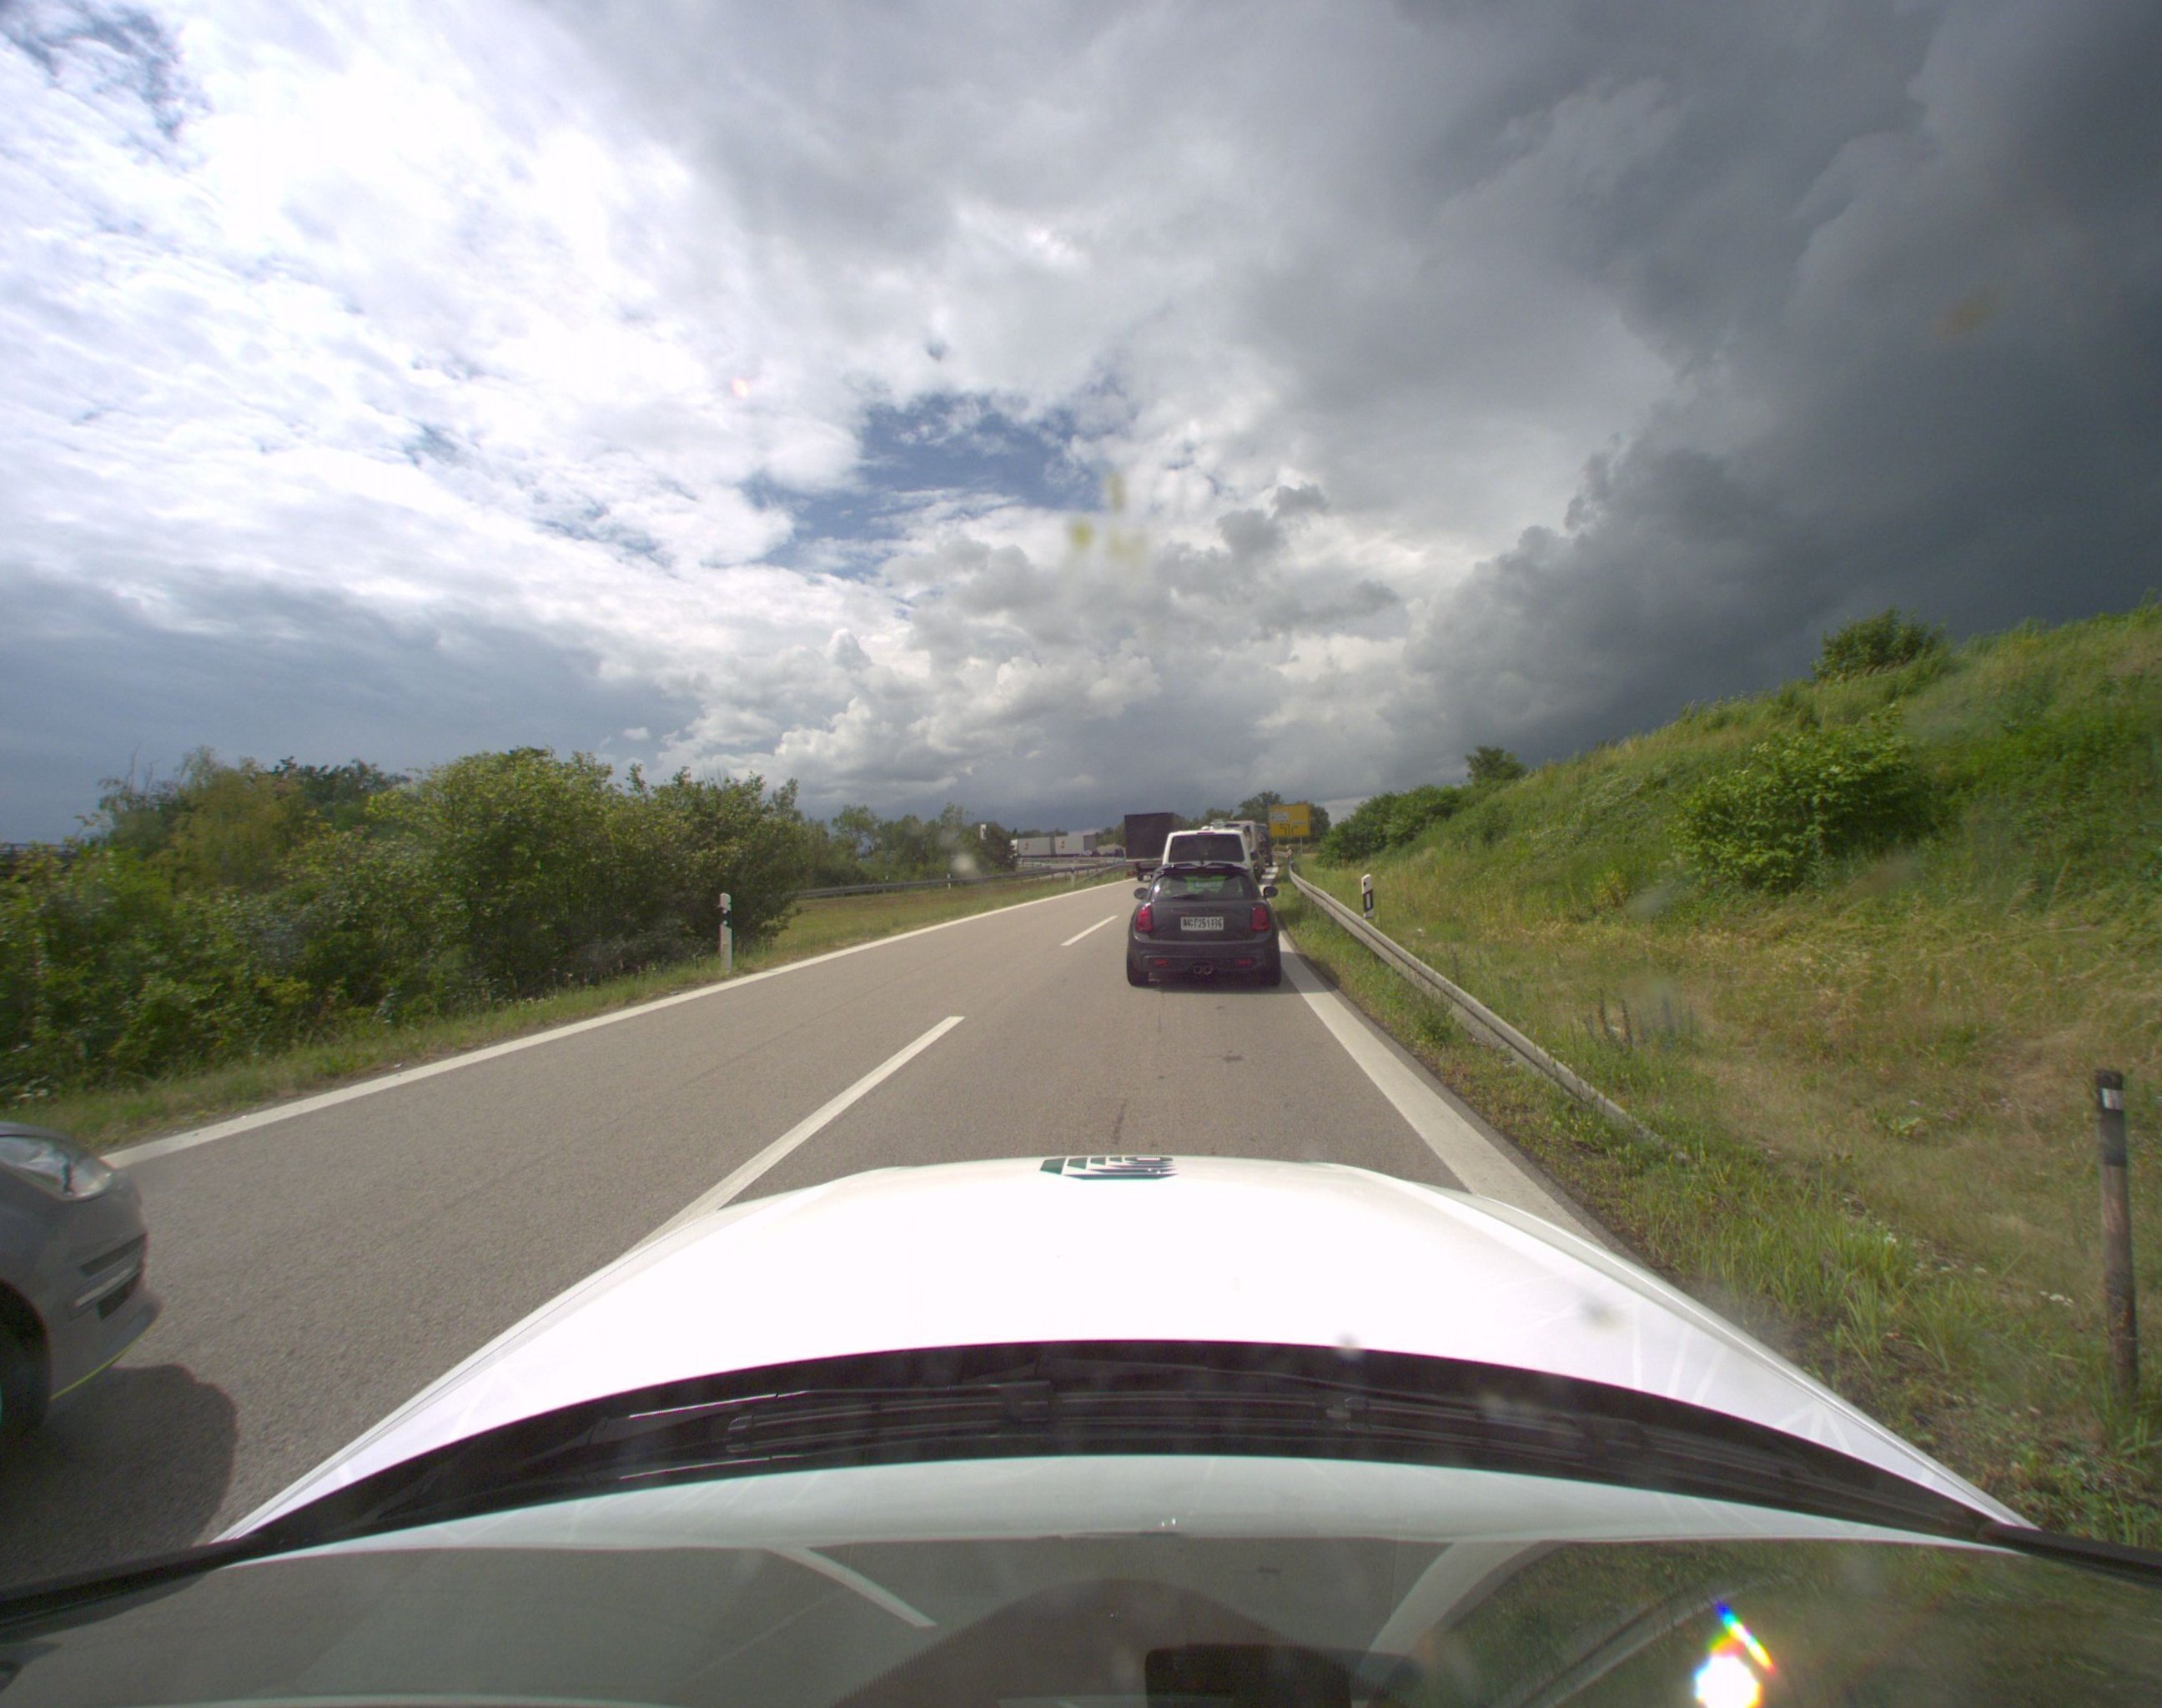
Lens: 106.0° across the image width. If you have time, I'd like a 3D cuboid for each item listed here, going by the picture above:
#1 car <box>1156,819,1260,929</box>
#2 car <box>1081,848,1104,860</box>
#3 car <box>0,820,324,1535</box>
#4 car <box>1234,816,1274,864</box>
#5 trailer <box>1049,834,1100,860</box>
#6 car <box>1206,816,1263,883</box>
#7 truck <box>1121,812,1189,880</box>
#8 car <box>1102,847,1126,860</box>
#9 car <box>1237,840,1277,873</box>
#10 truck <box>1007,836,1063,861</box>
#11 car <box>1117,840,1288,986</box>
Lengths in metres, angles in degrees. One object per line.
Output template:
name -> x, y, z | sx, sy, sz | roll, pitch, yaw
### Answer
car -> 2.758, 0.391, 17.399 | 1.899, 2.045, 4.193 | -1, -1, 10
car -> 1.690, 0.032, 121.187 | 1.820, 1.756, 3.969 | 0, -1, -23
car -> -3.522, 0.734, 0.284 | 2.012, 1.577, 4.591 | -2, -1, 4
car -> 11.857, -0.851, 55.478 | 2.294, 3.069, 6.688 | -1, -1, 15
trailer -> -1.067, -1.034, 129.213 | 3.062, 3.898, 8.666 | 0, -1, -42
car -> 6.629, -0.147, 34.814 | 2.197, 2.622, 5.552 | -1, -1, 12
truck -> 3.932, -0.325, 41.732 | 2.543, 3.168, 7.492 | -1, -1, 12
car -> 5.012, -0.065, 123.040 | 1.930, 1.838, 4.283 | 0, -1, -24
car -> 9.452, 0.157, 43.839 | 1.980, 1.642, 3.941 | -1, -1, 12
truck -> -7.710, -0.845, 135.593 | 9.901, 3.976, 2.863 | -1, -1, 40
car -> 1.582, 0.634, 10.600 | 1.789, 1.546, 3.747 | -1, 0, 9
